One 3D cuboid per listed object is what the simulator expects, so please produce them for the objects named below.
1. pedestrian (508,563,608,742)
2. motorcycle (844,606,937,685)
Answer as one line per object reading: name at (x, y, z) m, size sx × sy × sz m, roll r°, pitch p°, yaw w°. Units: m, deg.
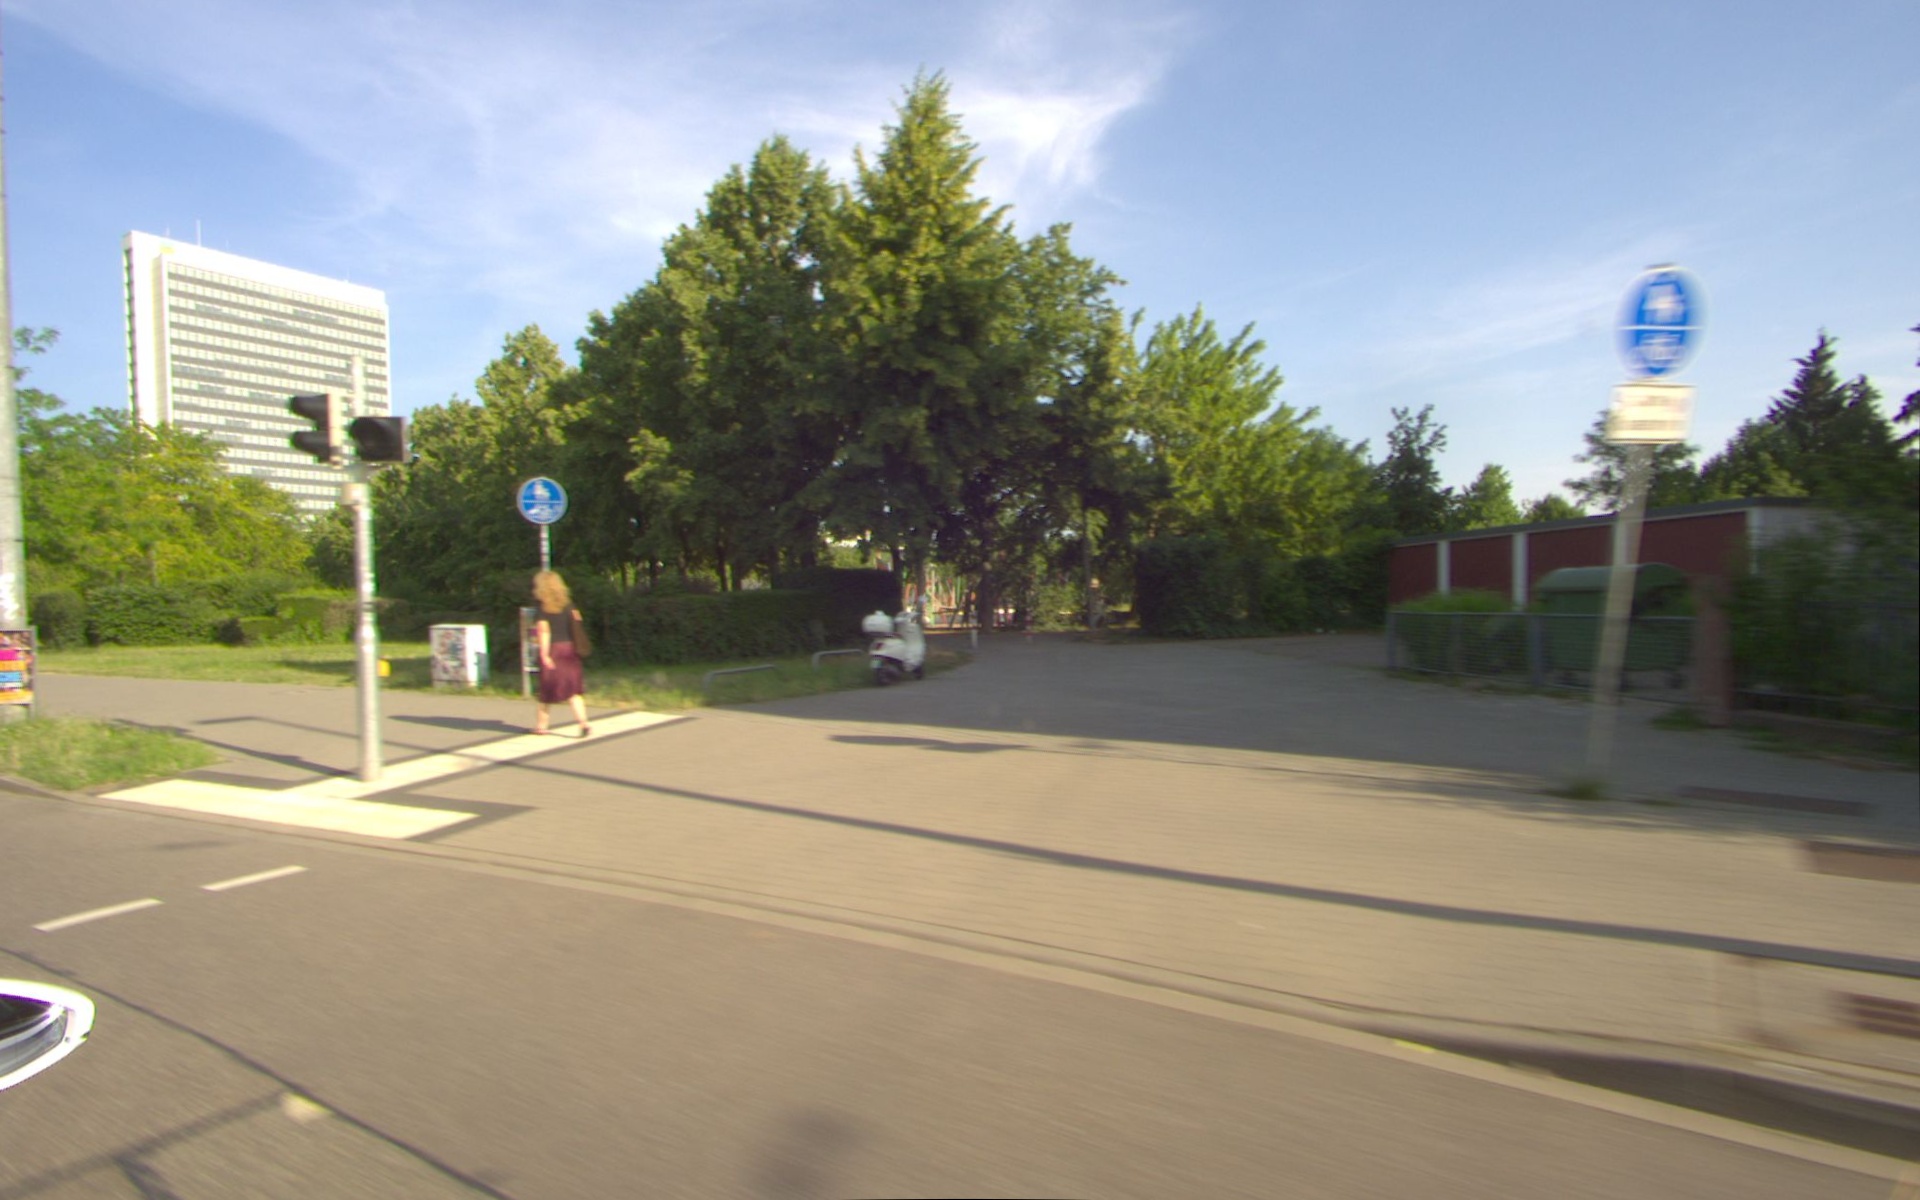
pedestrian at (-4.059, 0.511, 10.128) m, size 0.540 × 1.716 × 0.613 m, roll 0°, pitch 6°, yaw 31°
motorcycle at (-1.079, 0.693, 16.048) m, size 0.696 × 1.175 × 1.998 m, roll 0°, pitch 0°, yaw 21°
